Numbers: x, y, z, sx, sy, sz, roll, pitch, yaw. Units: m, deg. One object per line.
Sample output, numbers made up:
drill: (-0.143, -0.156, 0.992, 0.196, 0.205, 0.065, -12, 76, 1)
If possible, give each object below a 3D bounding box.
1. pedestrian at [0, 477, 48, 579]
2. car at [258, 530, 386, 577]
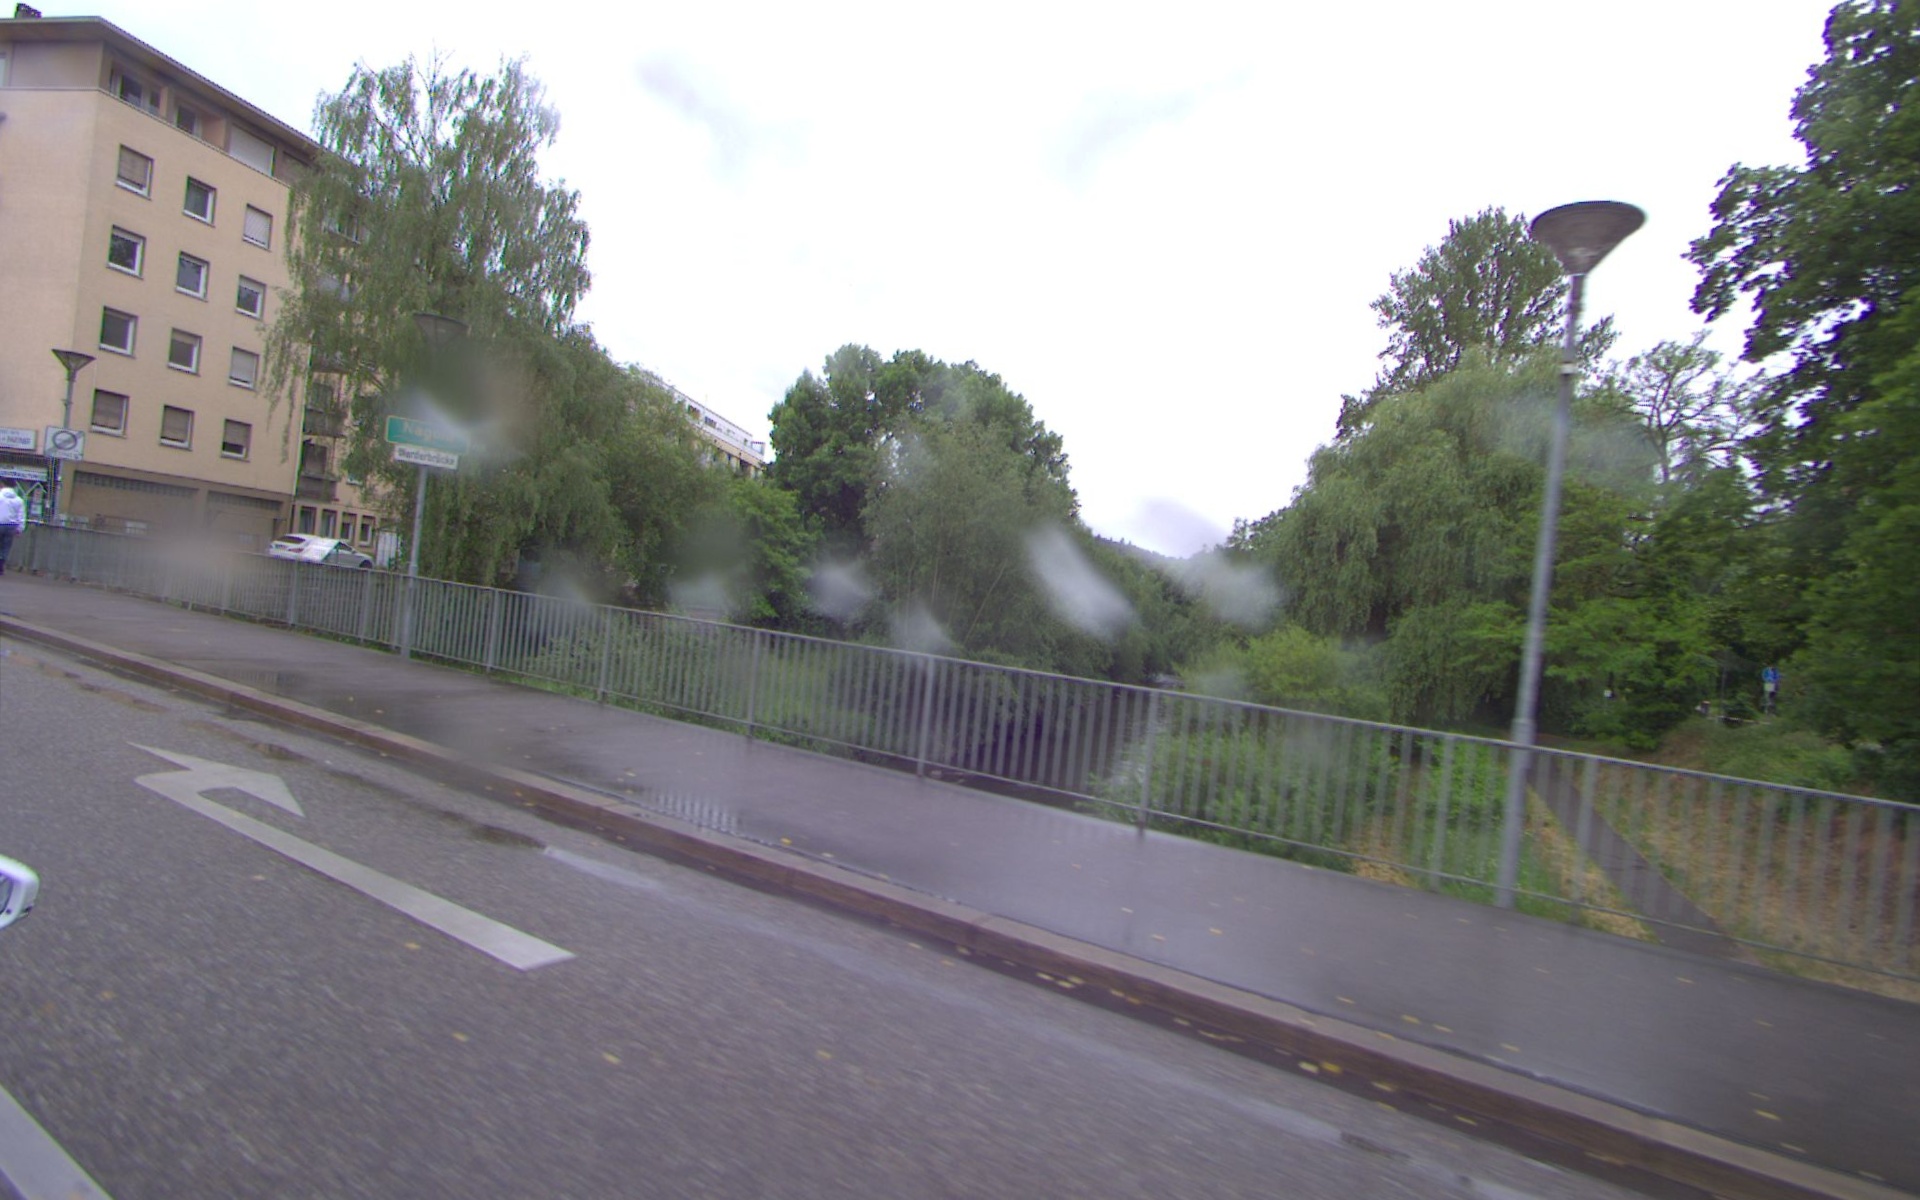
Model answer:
pedestrian: (-17.578, -1.338, 18.528, 1.043, 1.774, 0.780, 6, 1, 31)
car: (-26.974, -1.935, 42.728, 1.782, 1.393, 4.455, 9, 0, 15)
